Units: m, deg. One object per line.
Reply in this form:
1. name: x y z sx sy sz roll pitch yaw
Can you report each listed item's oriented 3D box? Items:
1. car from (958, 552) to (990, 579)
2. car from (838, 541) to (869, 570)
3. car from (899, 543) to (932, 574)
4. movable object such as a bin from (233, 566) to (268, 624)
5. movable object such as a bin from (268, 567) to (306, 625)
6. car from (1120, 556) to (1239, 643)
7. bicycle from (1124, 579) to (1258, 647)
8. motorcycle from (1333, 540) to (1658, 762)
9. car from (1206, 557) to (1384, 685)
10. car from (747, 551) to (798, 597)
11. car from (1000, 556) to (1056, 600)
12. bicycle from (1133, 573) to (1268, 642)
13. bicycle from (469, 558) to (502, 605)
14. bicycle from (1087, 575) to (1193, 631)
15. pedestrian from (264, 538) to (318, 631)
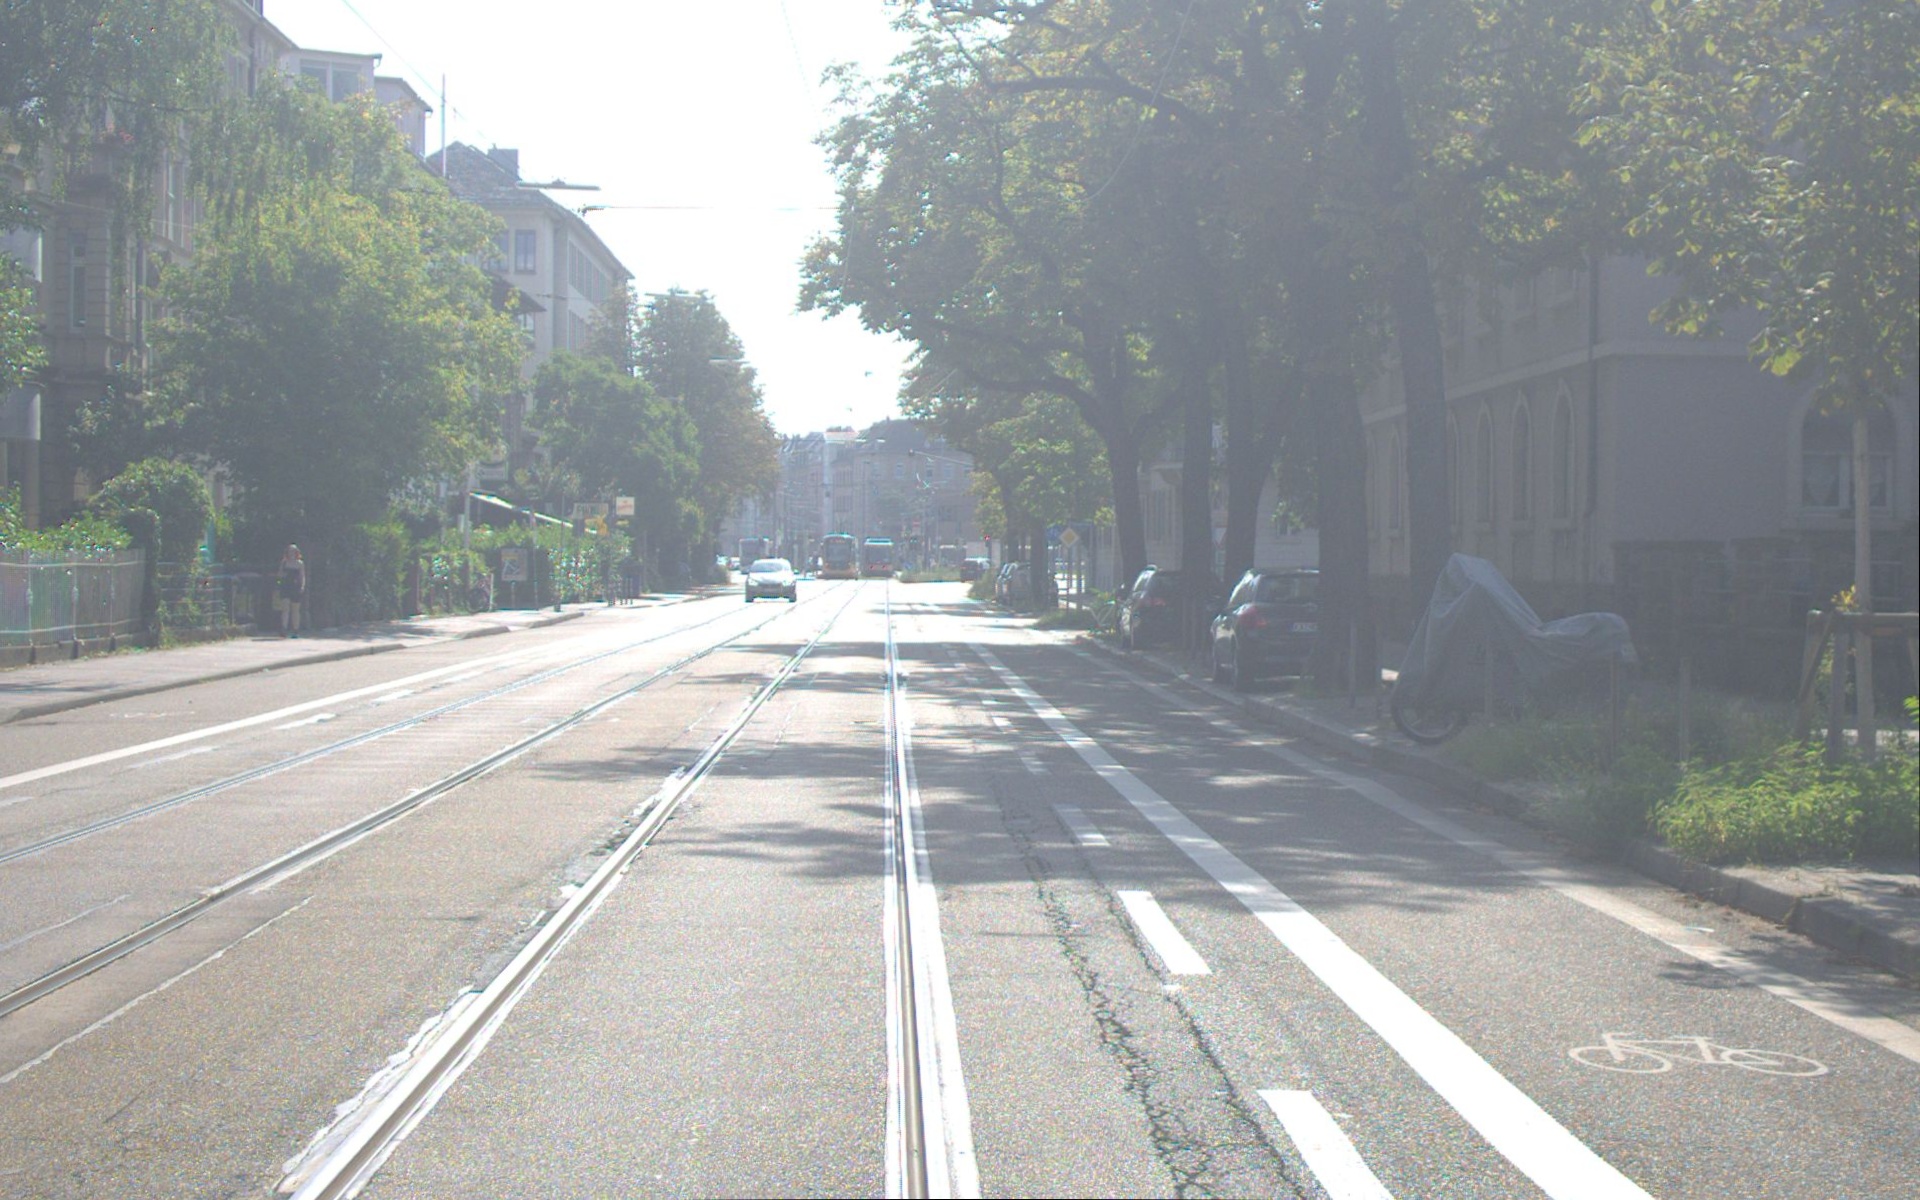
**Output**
1. car: 0.976 -2.461 243.969 1.994 1.777 4.000 2 1 3
2. car: -7.882 -3.278 254.463 1.993 2.007 4.000 2 1 2
3. car: -3.051 -2.869 236.181 1.994 2.007 4.000 2 1 2
4. movable object such as a bin: -13.251 -0.097 64.213 0.589 1.074 0.705 0 1 -7
5. movable object such as a bin: -12.583 -0.074 64.295 0.631 1.074 0.705 0 1 -7
6. car: 3.803 -0.014 60.099 1.771 1.468 3.974 0 0 -1
7. bicycle: 3.786 0.215 56.432 2.106 1.101 0.563 0 1 -8
8. motorcycle: 4.222 0.385 27.246 2.418 1.668 0.911 0 2 43
9. car: 4.145 0.230 43.077 1.726 1.499 3.985 -1 1 -1
10. car: -6.761 -0.942 124.235 1.726 1.632 3.985 0 1 -1
11. car: 2.310 -0.738 117.434 1.771 1.468 3.974 0 0 -1
12. bicycle: 3.903 0.124 55.914 2.106 1.101 0.563 0 1 -8
13. bicycle: -12.551 -0.505 90.961 0.561 1.217 2.114 0 1 1
14. bicycle: 3.689 0.062 70.579 2.106 1.101 0.616 -1 1 -2
15. pedestrian: -11.645 -0.274 59.859 0.752 1.586 0.878 0 1 0
